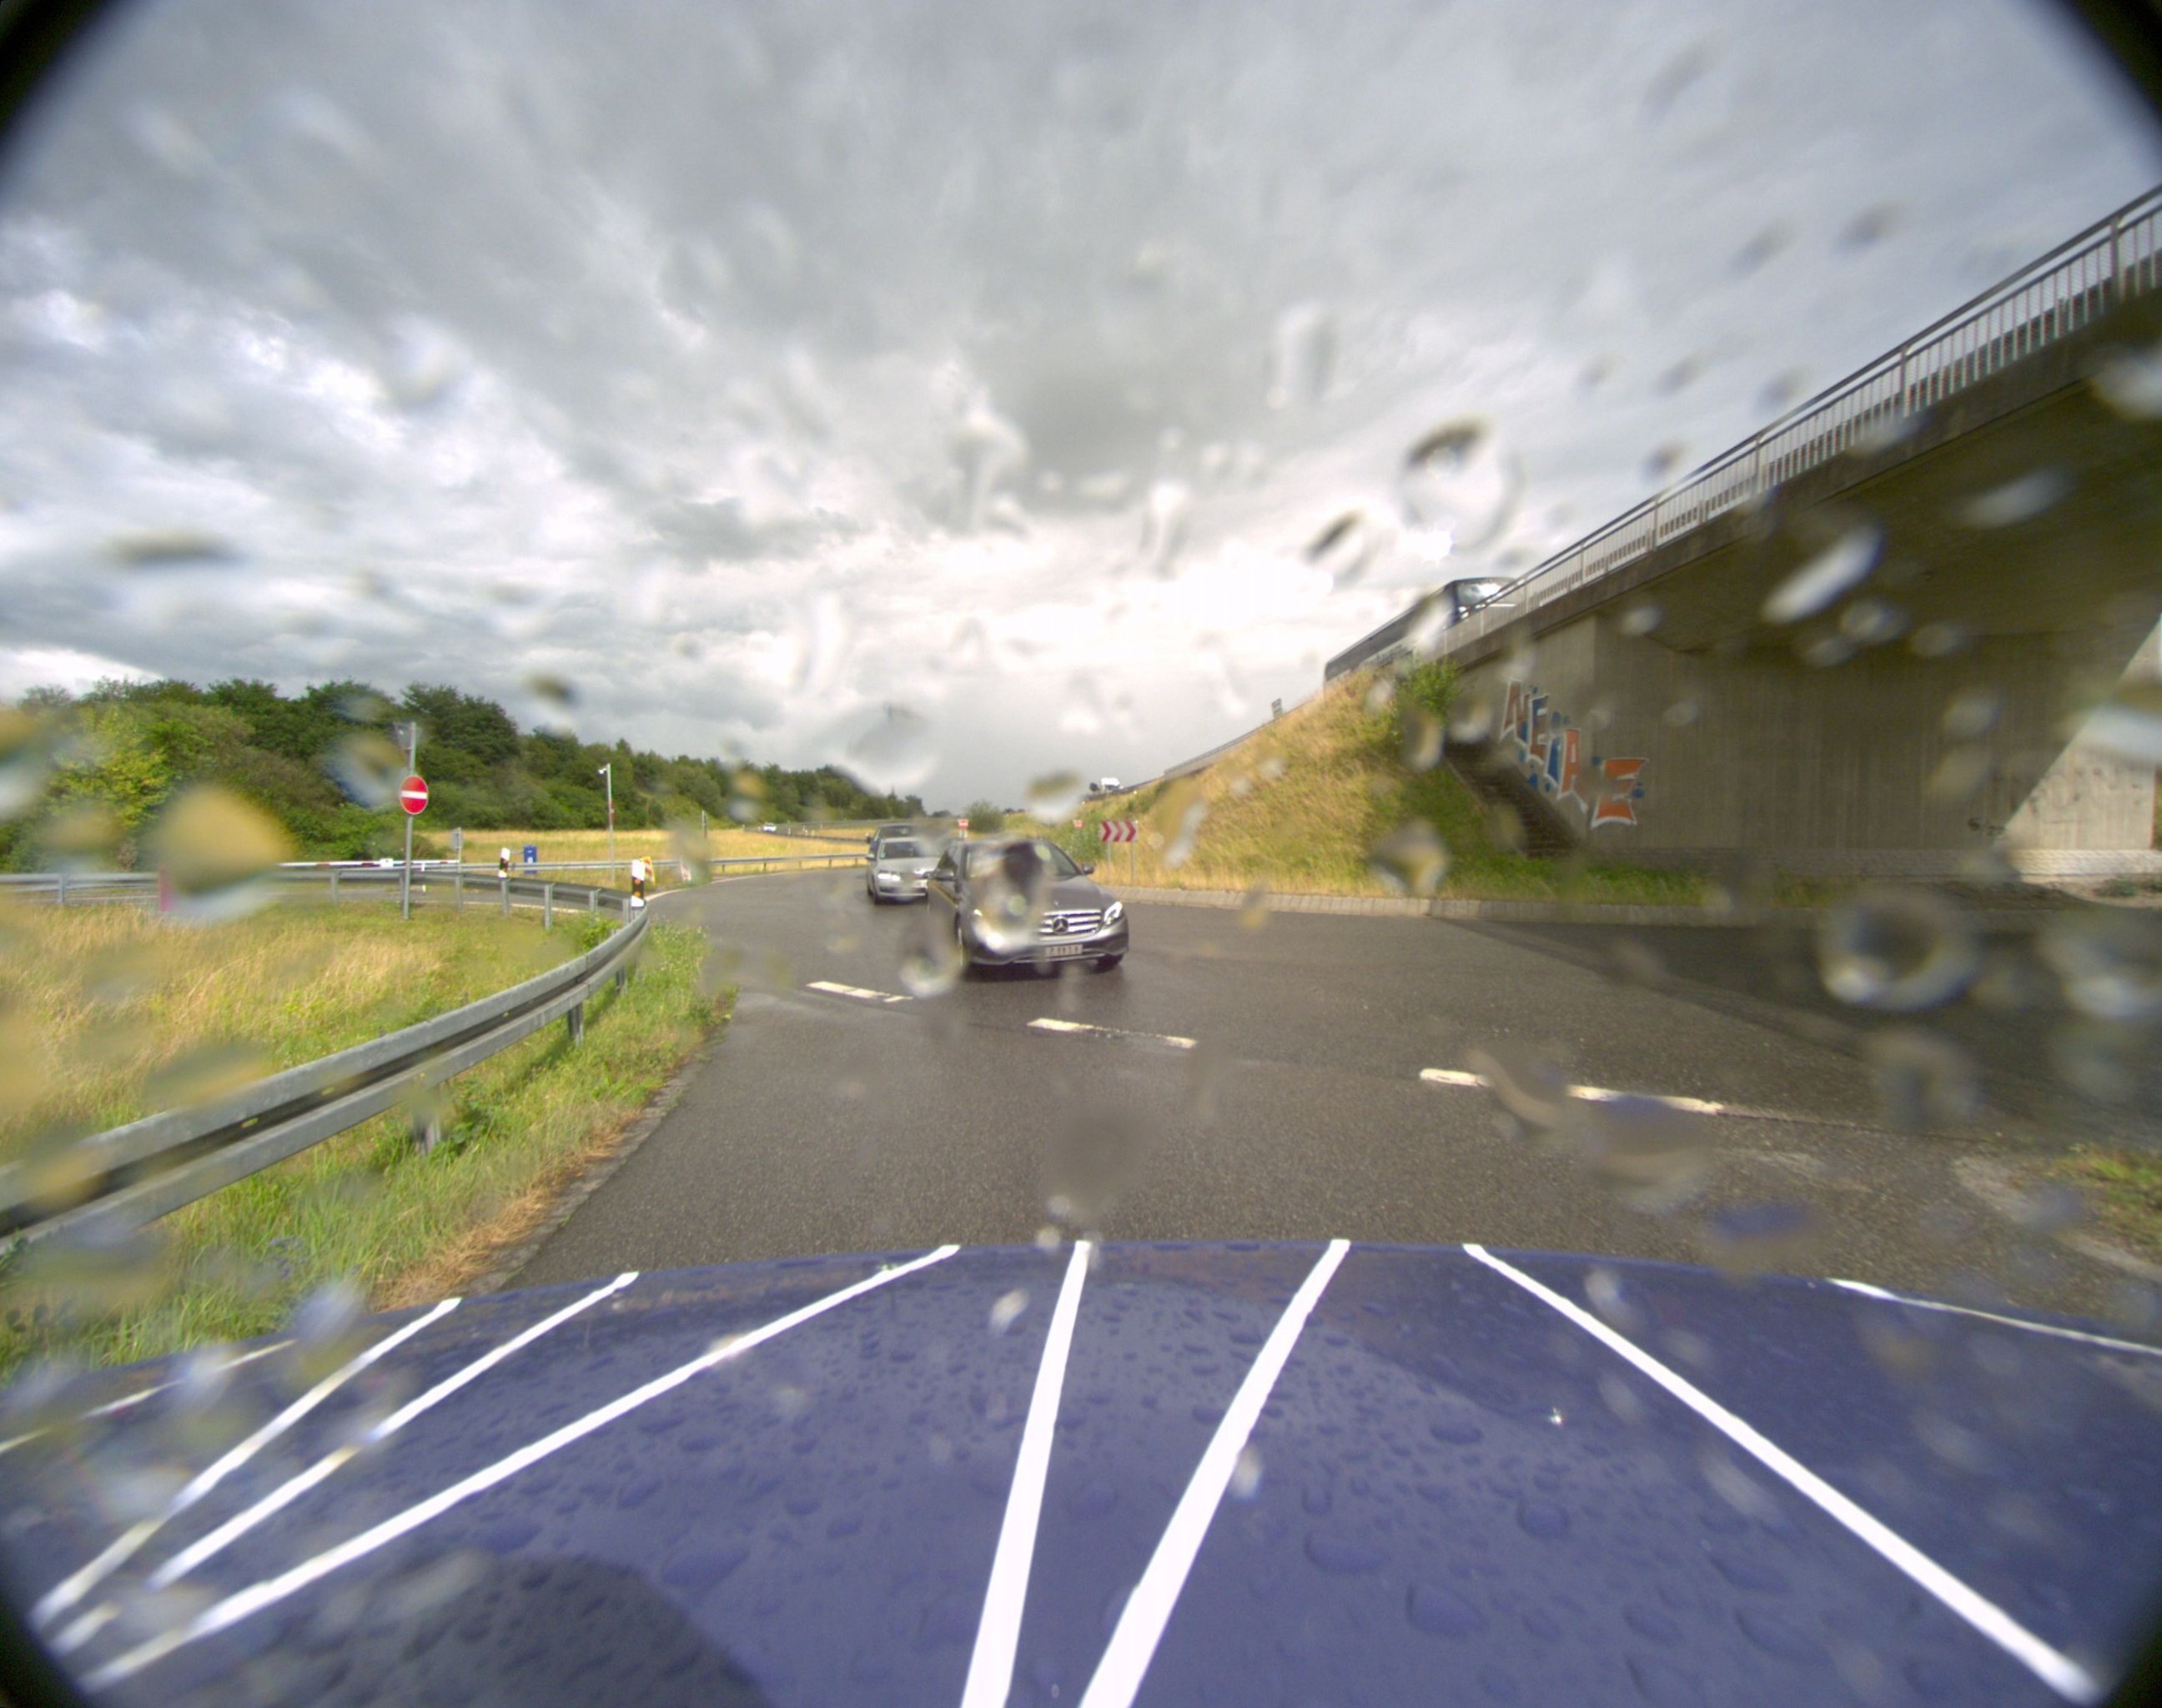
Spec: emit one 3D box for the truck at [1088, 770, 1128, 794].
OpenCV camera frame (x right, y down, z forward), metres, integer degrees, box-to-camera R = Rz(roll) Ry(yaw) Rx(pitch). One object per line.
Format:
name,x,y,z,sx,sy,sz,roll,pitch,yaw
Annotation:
truck,4.209,-11.558,122.390,3.163,3.177,9.260,-3,3,-19

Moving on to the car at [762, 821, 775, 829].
car,-51.748,-4.816,125.699,1.713,1.283,3.767,-1,2,-18

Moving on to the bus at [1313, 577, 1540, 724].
bus,13.933,-8.123,32.942,2.612,3.063,14.453,-2,3,-3

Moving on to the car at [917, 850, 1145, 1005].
car,-0.918,0.686,9.680,1.773,1.383,4.583,-2,2,-18

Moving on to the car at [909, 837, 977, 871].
car,-6.267,-0.056,34.836,1.772,1.476,3.836,0,2,11

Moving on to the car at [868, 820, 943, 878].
car,-6.505,-0.287,28.760,1.893,1.905,5.676,-1,3,-5

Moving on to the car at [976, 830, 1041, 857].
car,-4.215,-0.635,44.574,1.568,1.528,3.936,1,2,37

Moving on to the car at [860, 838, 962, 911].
car,-4.046,0.369,17.549,1.799,1.390,4.341,-2,2,-19
